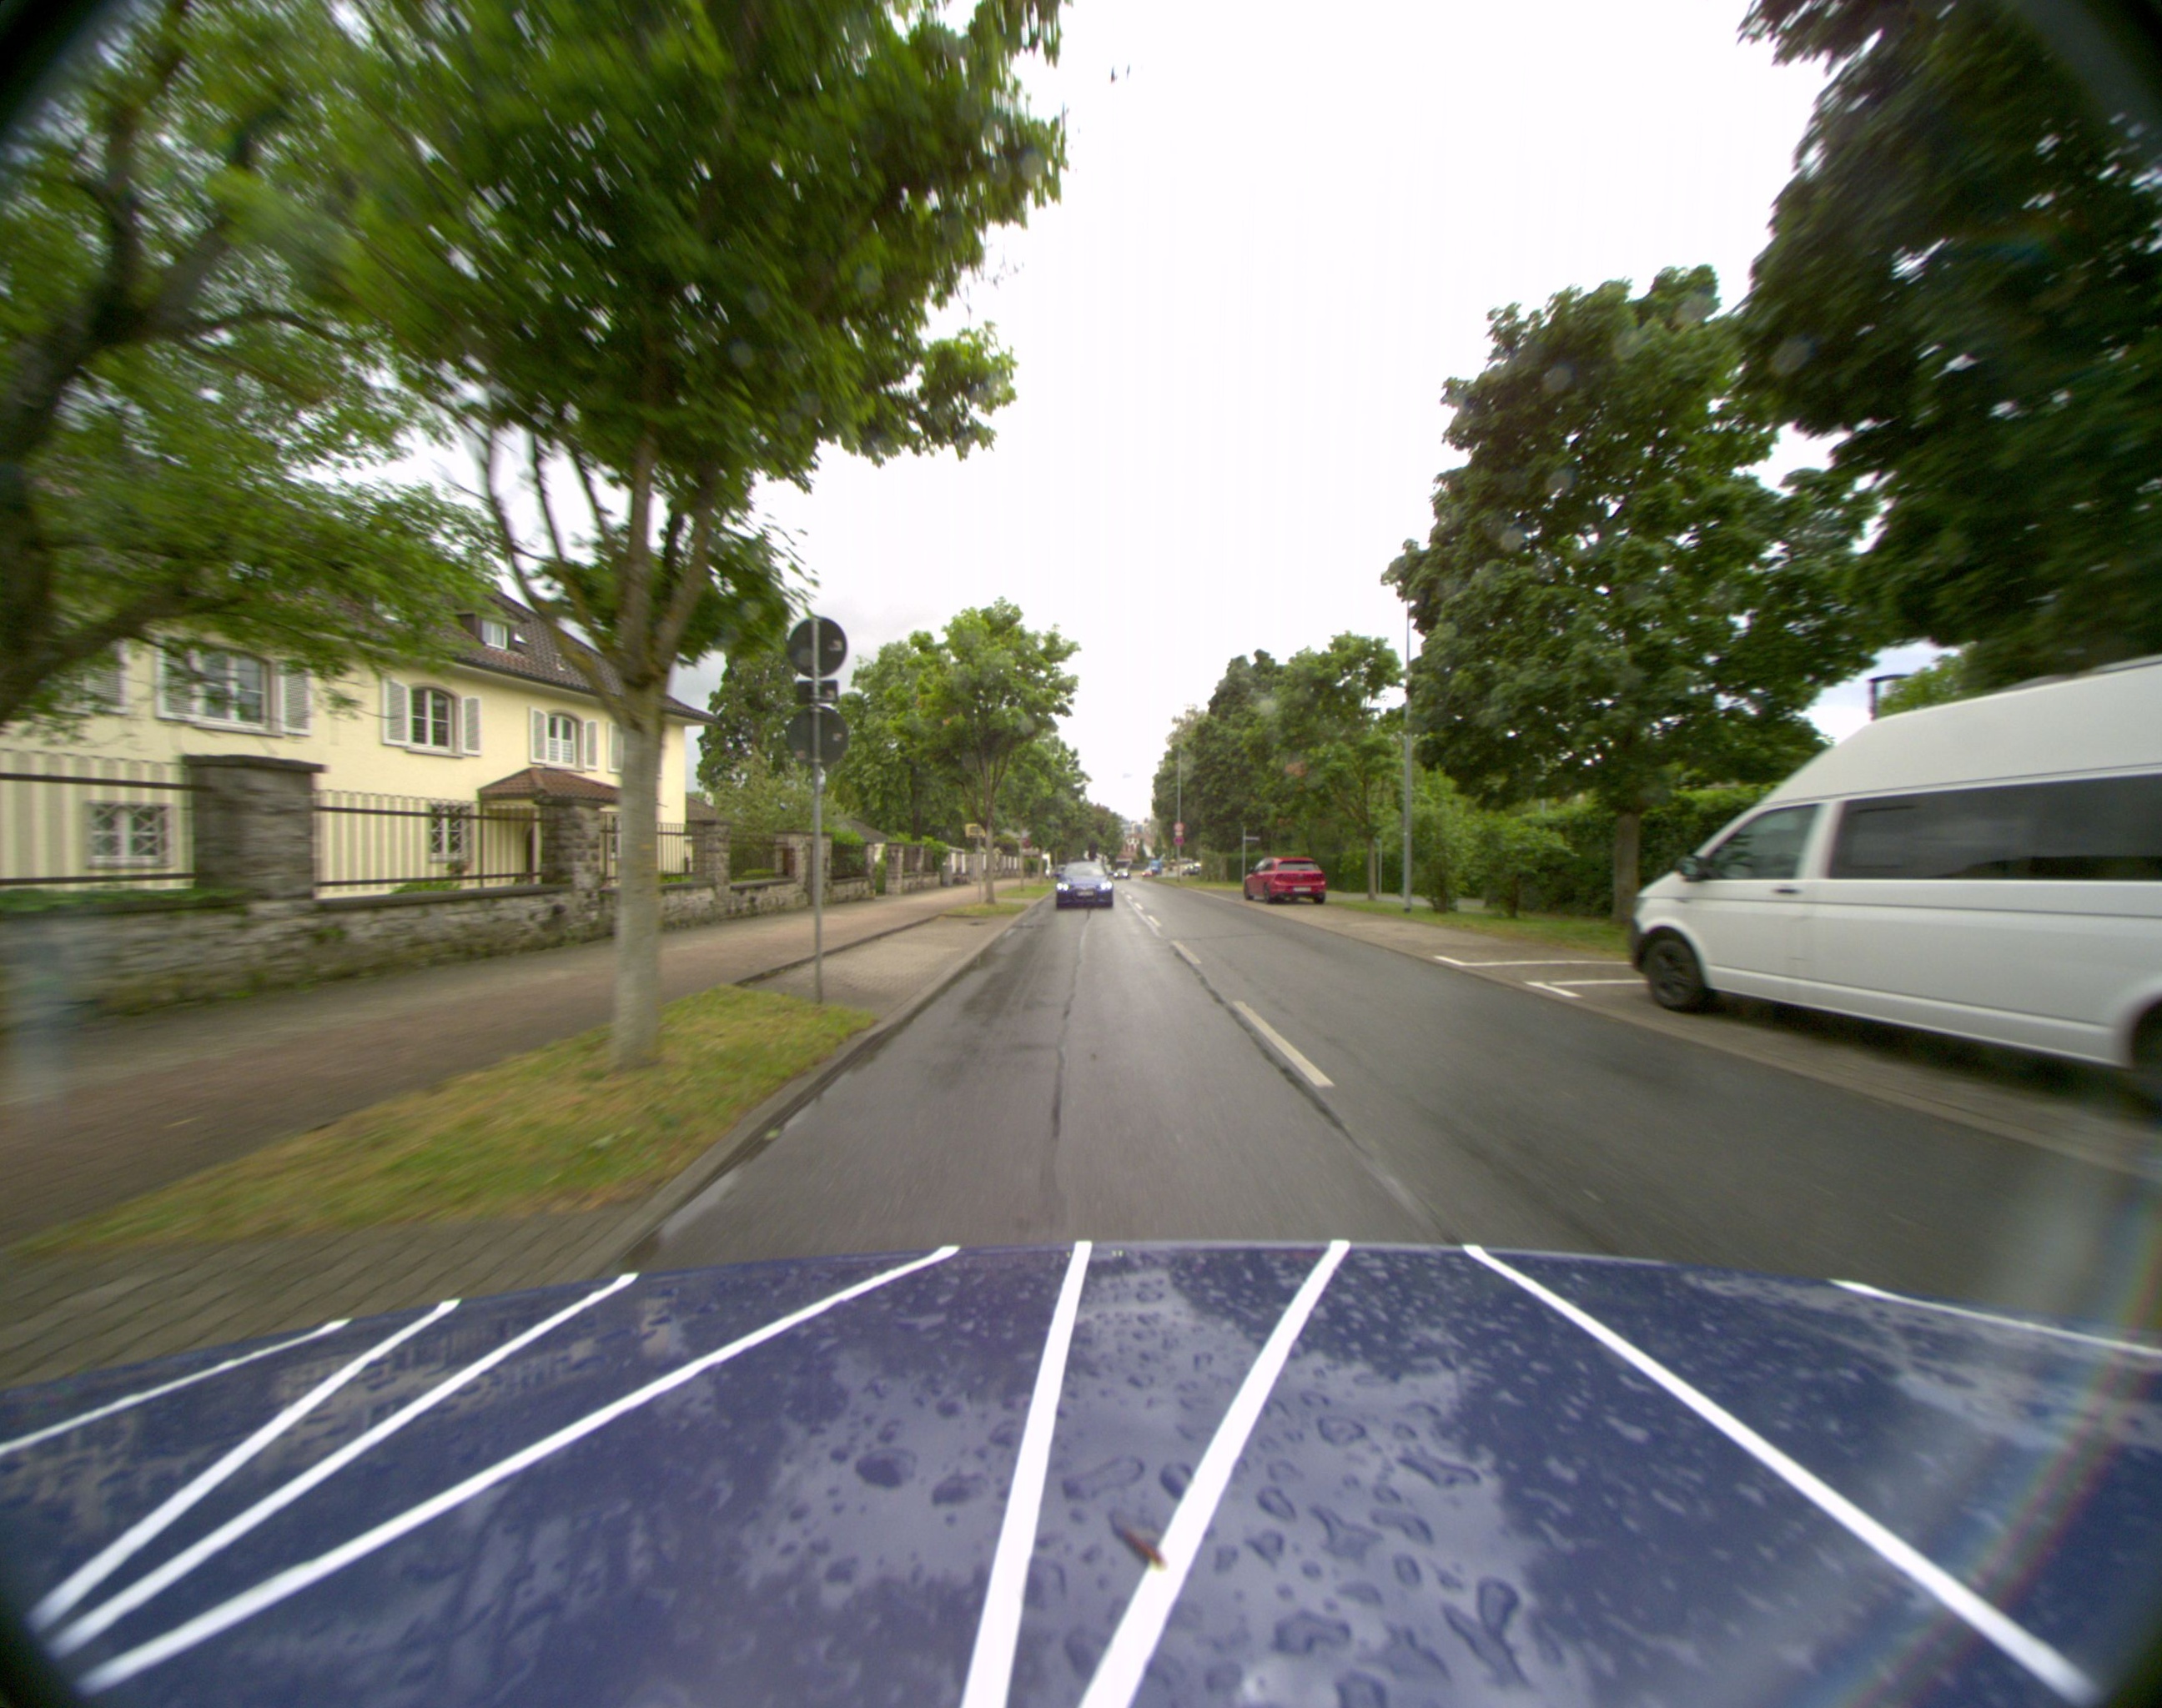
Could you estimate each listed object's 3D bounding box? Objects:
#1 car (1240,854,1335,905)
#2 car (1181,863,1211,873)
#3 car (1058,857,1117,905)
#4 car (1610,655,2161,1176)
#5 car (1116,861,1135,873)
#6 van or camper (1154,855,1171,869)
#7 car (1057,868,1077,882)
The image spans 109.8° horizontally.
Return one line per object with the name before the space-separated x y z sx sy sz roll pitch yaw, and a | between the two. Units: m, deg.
car | 6.409 0.748 24.099 1.848 1.457 4.250 0 0 0
car | 18.142 2.210 119.525 4.434 1.408 1.758 -3 -1 16
car | 0.284 0.924 27.148 1.895 1.531 4.001 -1 -1 2
car | 6.285 0.309 4.962 1.998 2.546 5.232 0 0 0
car | 6.387 1.854 108.920 1.893 1.531 4.005 -2 -1 14
van or camper | 16.084 1.556 150.078 2.146 2.594 5.789 2 1 17
car | -1.378 2.140 77.425 1.645 1.369 3.831 2 -1 5
